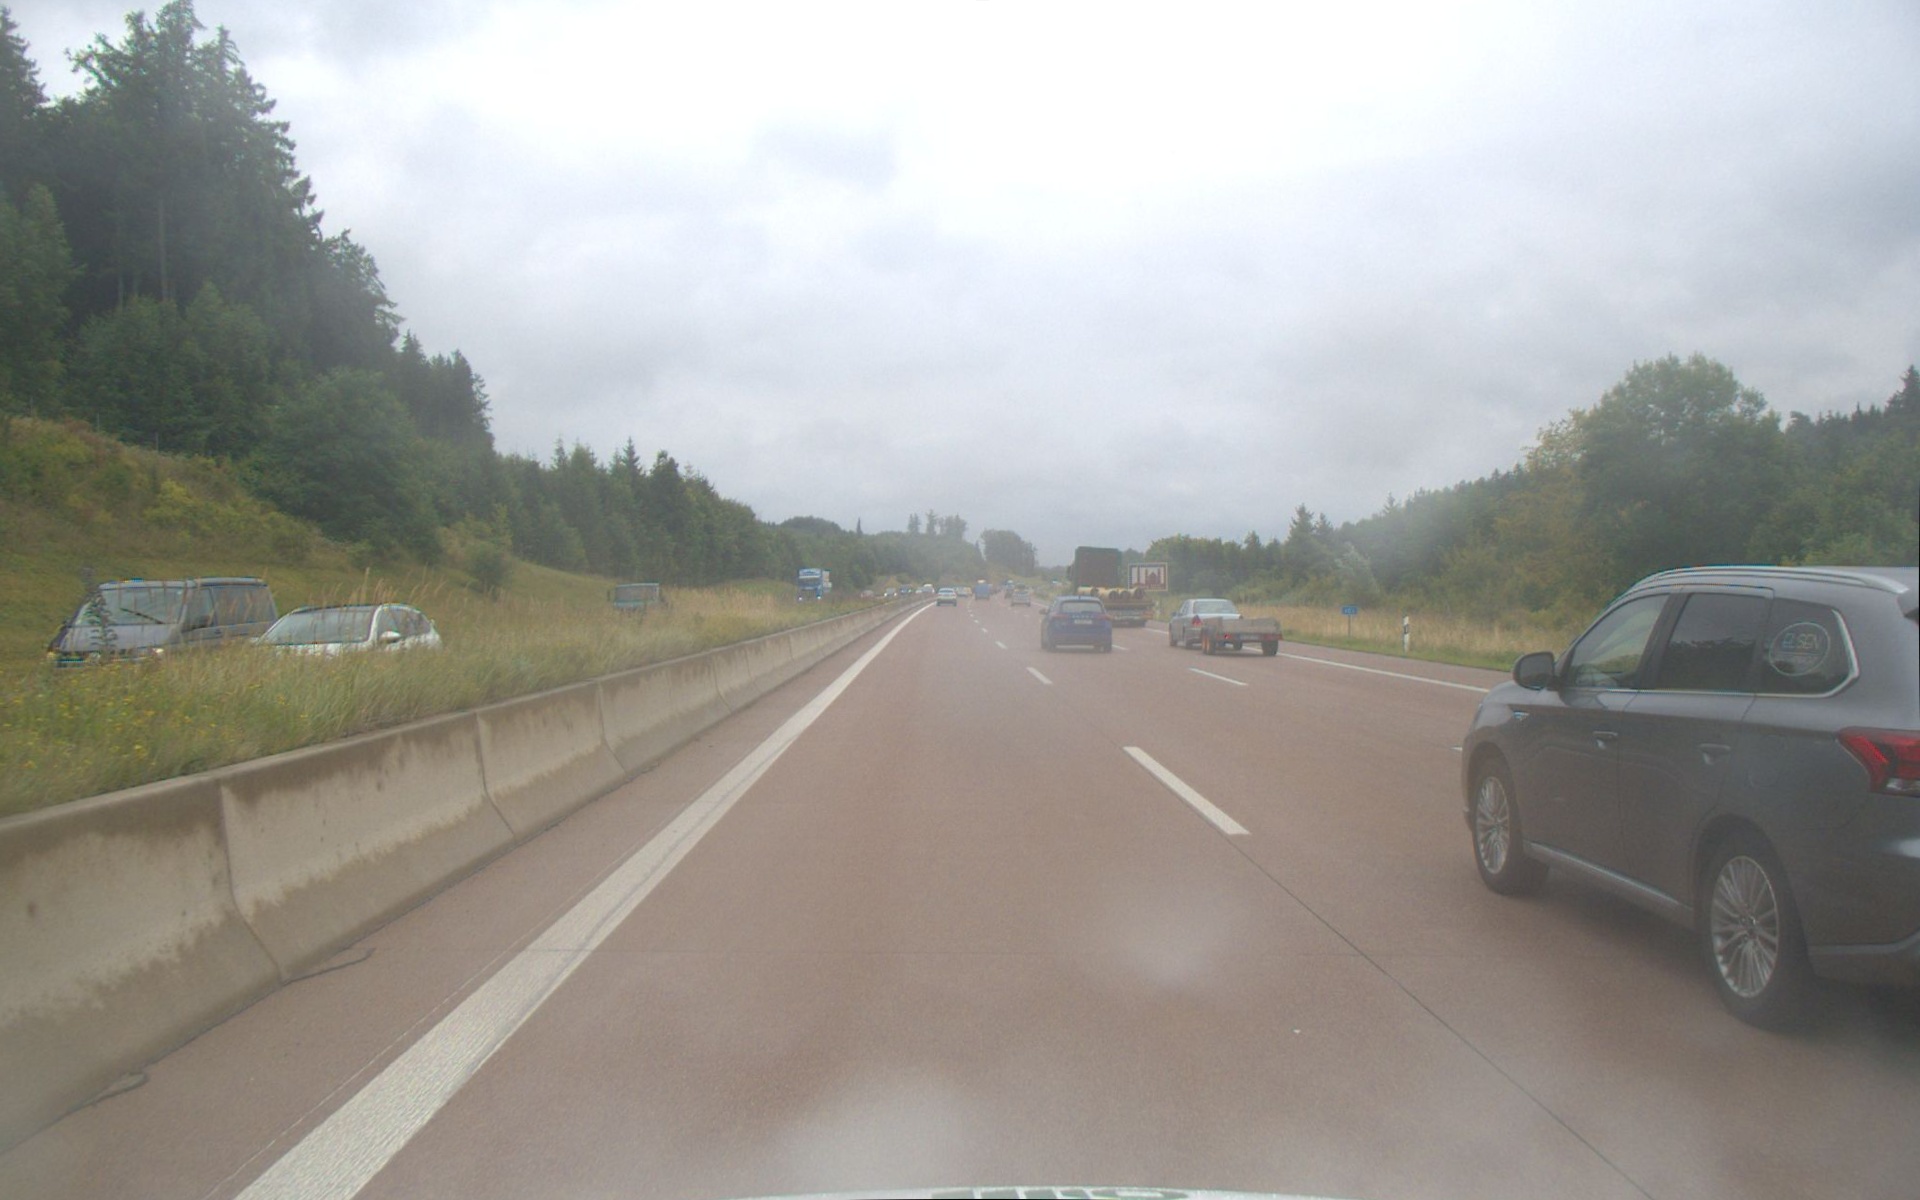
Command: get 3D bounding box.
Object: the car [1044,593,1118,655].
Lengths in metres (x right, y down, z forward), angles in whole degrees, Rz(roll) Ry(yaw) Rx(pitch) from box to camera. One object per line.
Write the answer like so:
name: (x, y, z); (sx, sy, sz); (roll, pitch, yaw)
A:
car: (3.243, 0.641, 45.068); (1.735, 1.591, 4.146); (1, -1, 1)

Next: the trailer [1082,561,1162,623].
trailer: (7.637, -0.298, 79.574); (2.822, 2.722, 11.398); (1, -1, 1)

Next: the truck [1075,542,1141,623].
truck: (7.749, -0.847, 87.147); (2.837, 4.034, 6.988); (1, -1, 0)

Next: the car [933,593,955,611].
car: (-1.428, 0.161, 150.784); (1.835, 1.469, 4.878); (1, 1, 1)

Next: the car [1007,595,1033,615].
car: (5.538, 0.455, 153.970); (2.274, 1.780, 4.877); (1, -1, 1)

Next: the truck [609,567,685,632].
truck: (-16.360, 0.006, 86.858); (2.805, 3.228, 6.493); (1, -1, -1)

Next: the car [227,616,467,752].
car: (-8.079, 1.052, 22.186); (1.805, 1.631, 3.845); (1, -1, -1)

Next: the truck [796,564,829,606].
truck: (-16.322, -1.741, 183.361); (2.905, 4.394, 7.648); (-4, 1, -1)

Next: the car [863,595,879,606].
car: (-11.636, 0.098, 216.295); (1.781, 1.393, 5.113); (1, -1, -1)

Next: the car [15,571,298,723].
car: (-12.350, 0.694, 25.882); (1.997, 2.094, 5.069); (-2, -1, -1)

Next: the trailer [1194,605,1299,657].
trailer: (7.343, 0.766, 42.836); (1.931, 1.187, 4.639); (1, 1, 0)

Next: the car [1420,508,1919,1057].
car: (3.772, 0.577, 6.909); (1.953, 1.620, 5.818); (1, -1, -1)

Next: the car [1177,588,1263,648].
car: (7.399, 0.520, 47.534); (1.663, 1.640, 4.976); (0, -1, 0)

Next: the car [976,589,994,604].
car: (3.140, -0.470, 211.642); (2.274, 1.780, 4.877); (1, -1, 1)
